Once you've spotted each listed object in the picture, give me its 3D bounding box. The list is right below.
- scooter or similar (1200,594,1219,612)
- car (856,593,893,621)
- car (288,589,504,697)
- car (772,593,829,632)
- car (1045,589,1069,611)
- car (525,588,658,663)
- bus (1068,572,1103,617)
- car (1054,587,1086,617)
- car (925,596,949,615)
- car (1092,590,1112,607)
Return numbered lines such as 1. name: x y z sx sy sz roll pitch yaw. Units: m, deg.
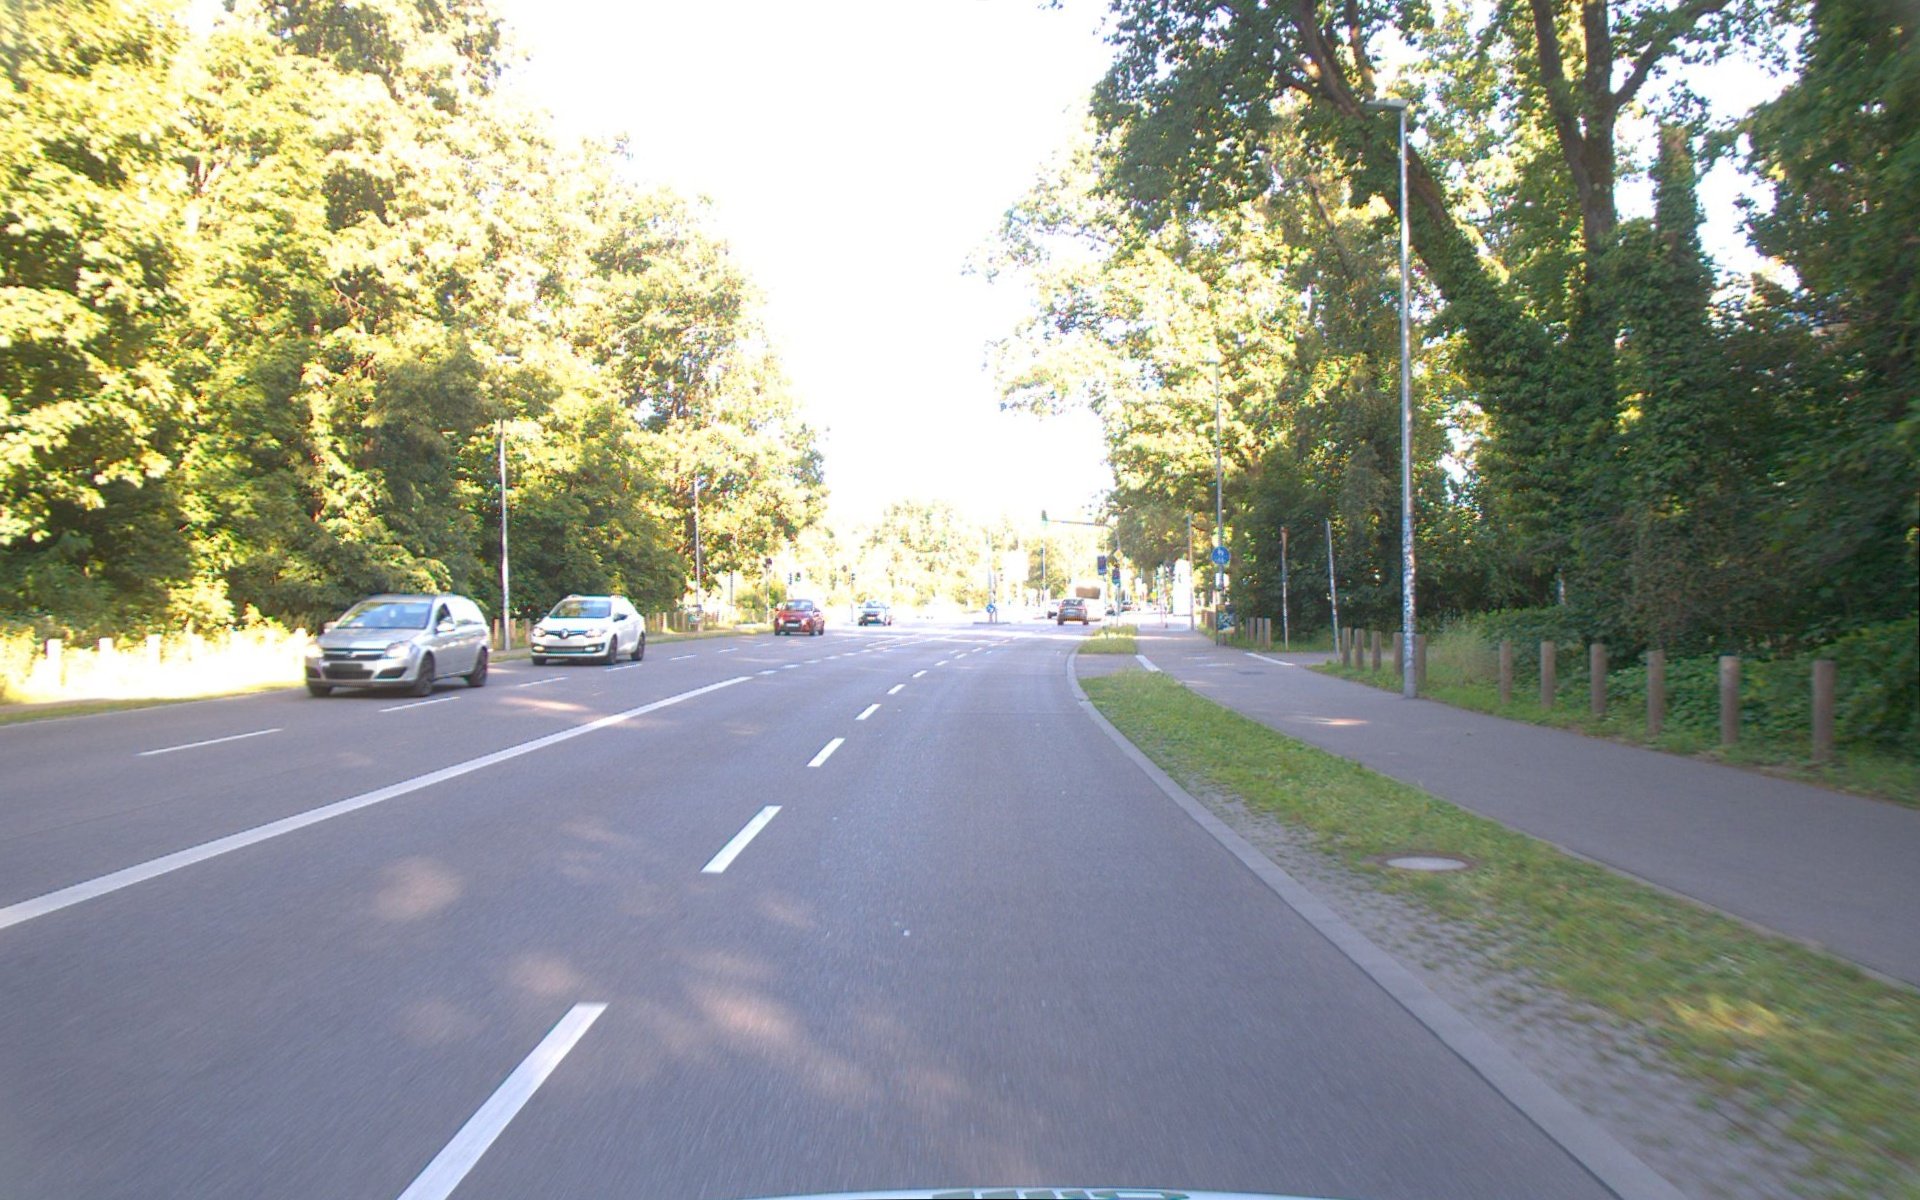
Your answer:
1. scooter or similar: 18.211 0.208 120.858 0.560 1.278 1.589 -1 0 44
2. car: -4.955 0.390 96.351 1.621 1.534 4.002 -1 0 4
3. car: -8.518 0.604 25.388 1.743 1.489 4.275 1 0 2
4. car: -6.587 0.506 68.706 1.628 1.544 3.810 -1 0 6
5. car: 8.390 -0.017 142.689 1.840 1.796 4.003 -1 1 6
6. car: -8.120 0.521 36.825 1.745 1.549 4.400 -1 1 3
7. bus: 9.860 -0.459 129.005 2.550 3.427 7.981 0 1 5
8. car: 6.871 0.093 102.756 1.840 1.796 4.003 -1 1 6
9. car: -1.822 0.451 133.977 1.675 1.489 4.102 1 0 3
10. car: 15.416 -0.176 179.182 1.823 1.713 3.776 -2 0 10
